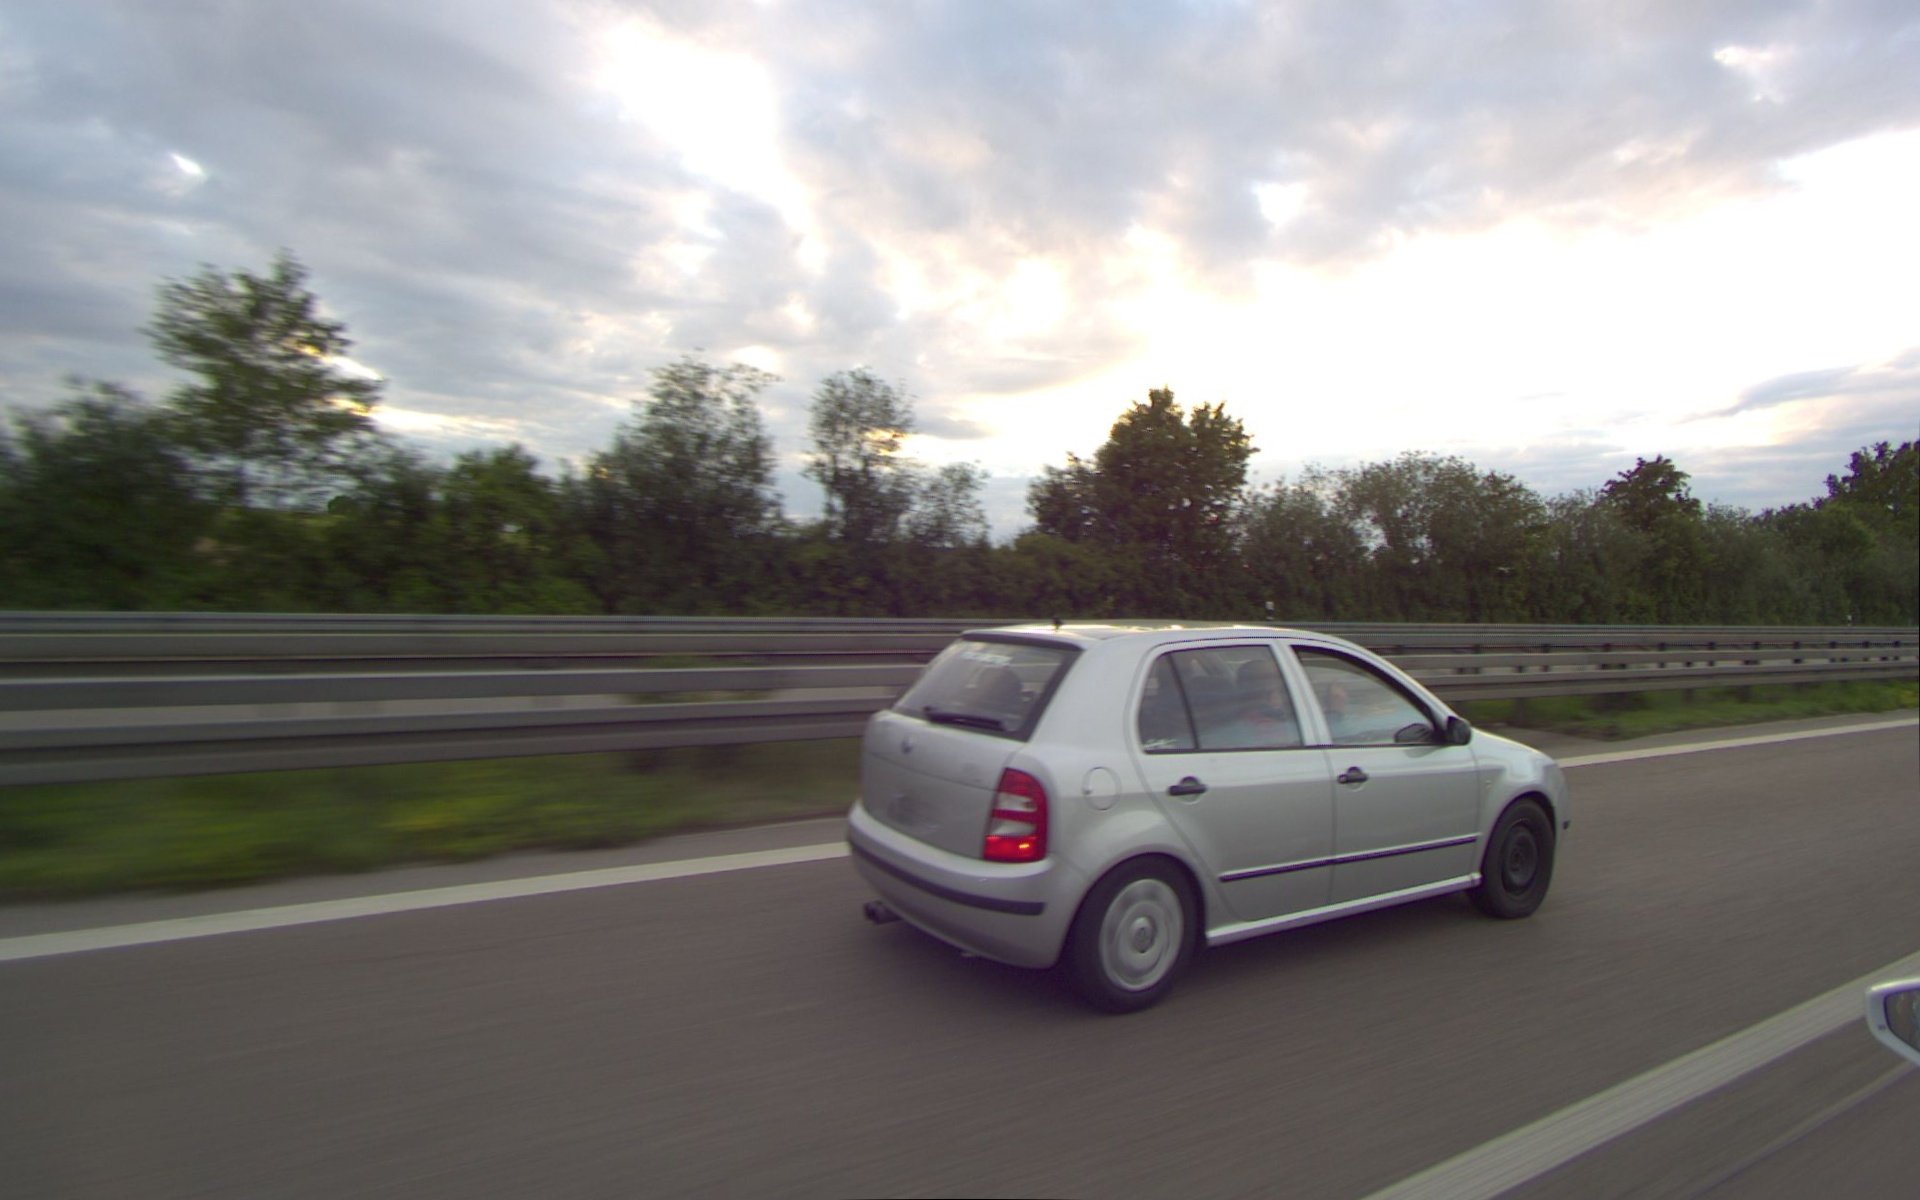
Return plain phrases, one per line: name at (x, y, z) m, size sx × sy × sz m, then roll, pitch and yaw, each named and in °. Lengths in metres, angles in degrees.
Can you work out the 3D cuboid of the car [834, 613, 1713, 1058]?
car at (1.780, 0.814, 5.073) m, size 4.547 × 1.408 × 1.581 m, roll 1°, pitch 0°, yaw -30°
